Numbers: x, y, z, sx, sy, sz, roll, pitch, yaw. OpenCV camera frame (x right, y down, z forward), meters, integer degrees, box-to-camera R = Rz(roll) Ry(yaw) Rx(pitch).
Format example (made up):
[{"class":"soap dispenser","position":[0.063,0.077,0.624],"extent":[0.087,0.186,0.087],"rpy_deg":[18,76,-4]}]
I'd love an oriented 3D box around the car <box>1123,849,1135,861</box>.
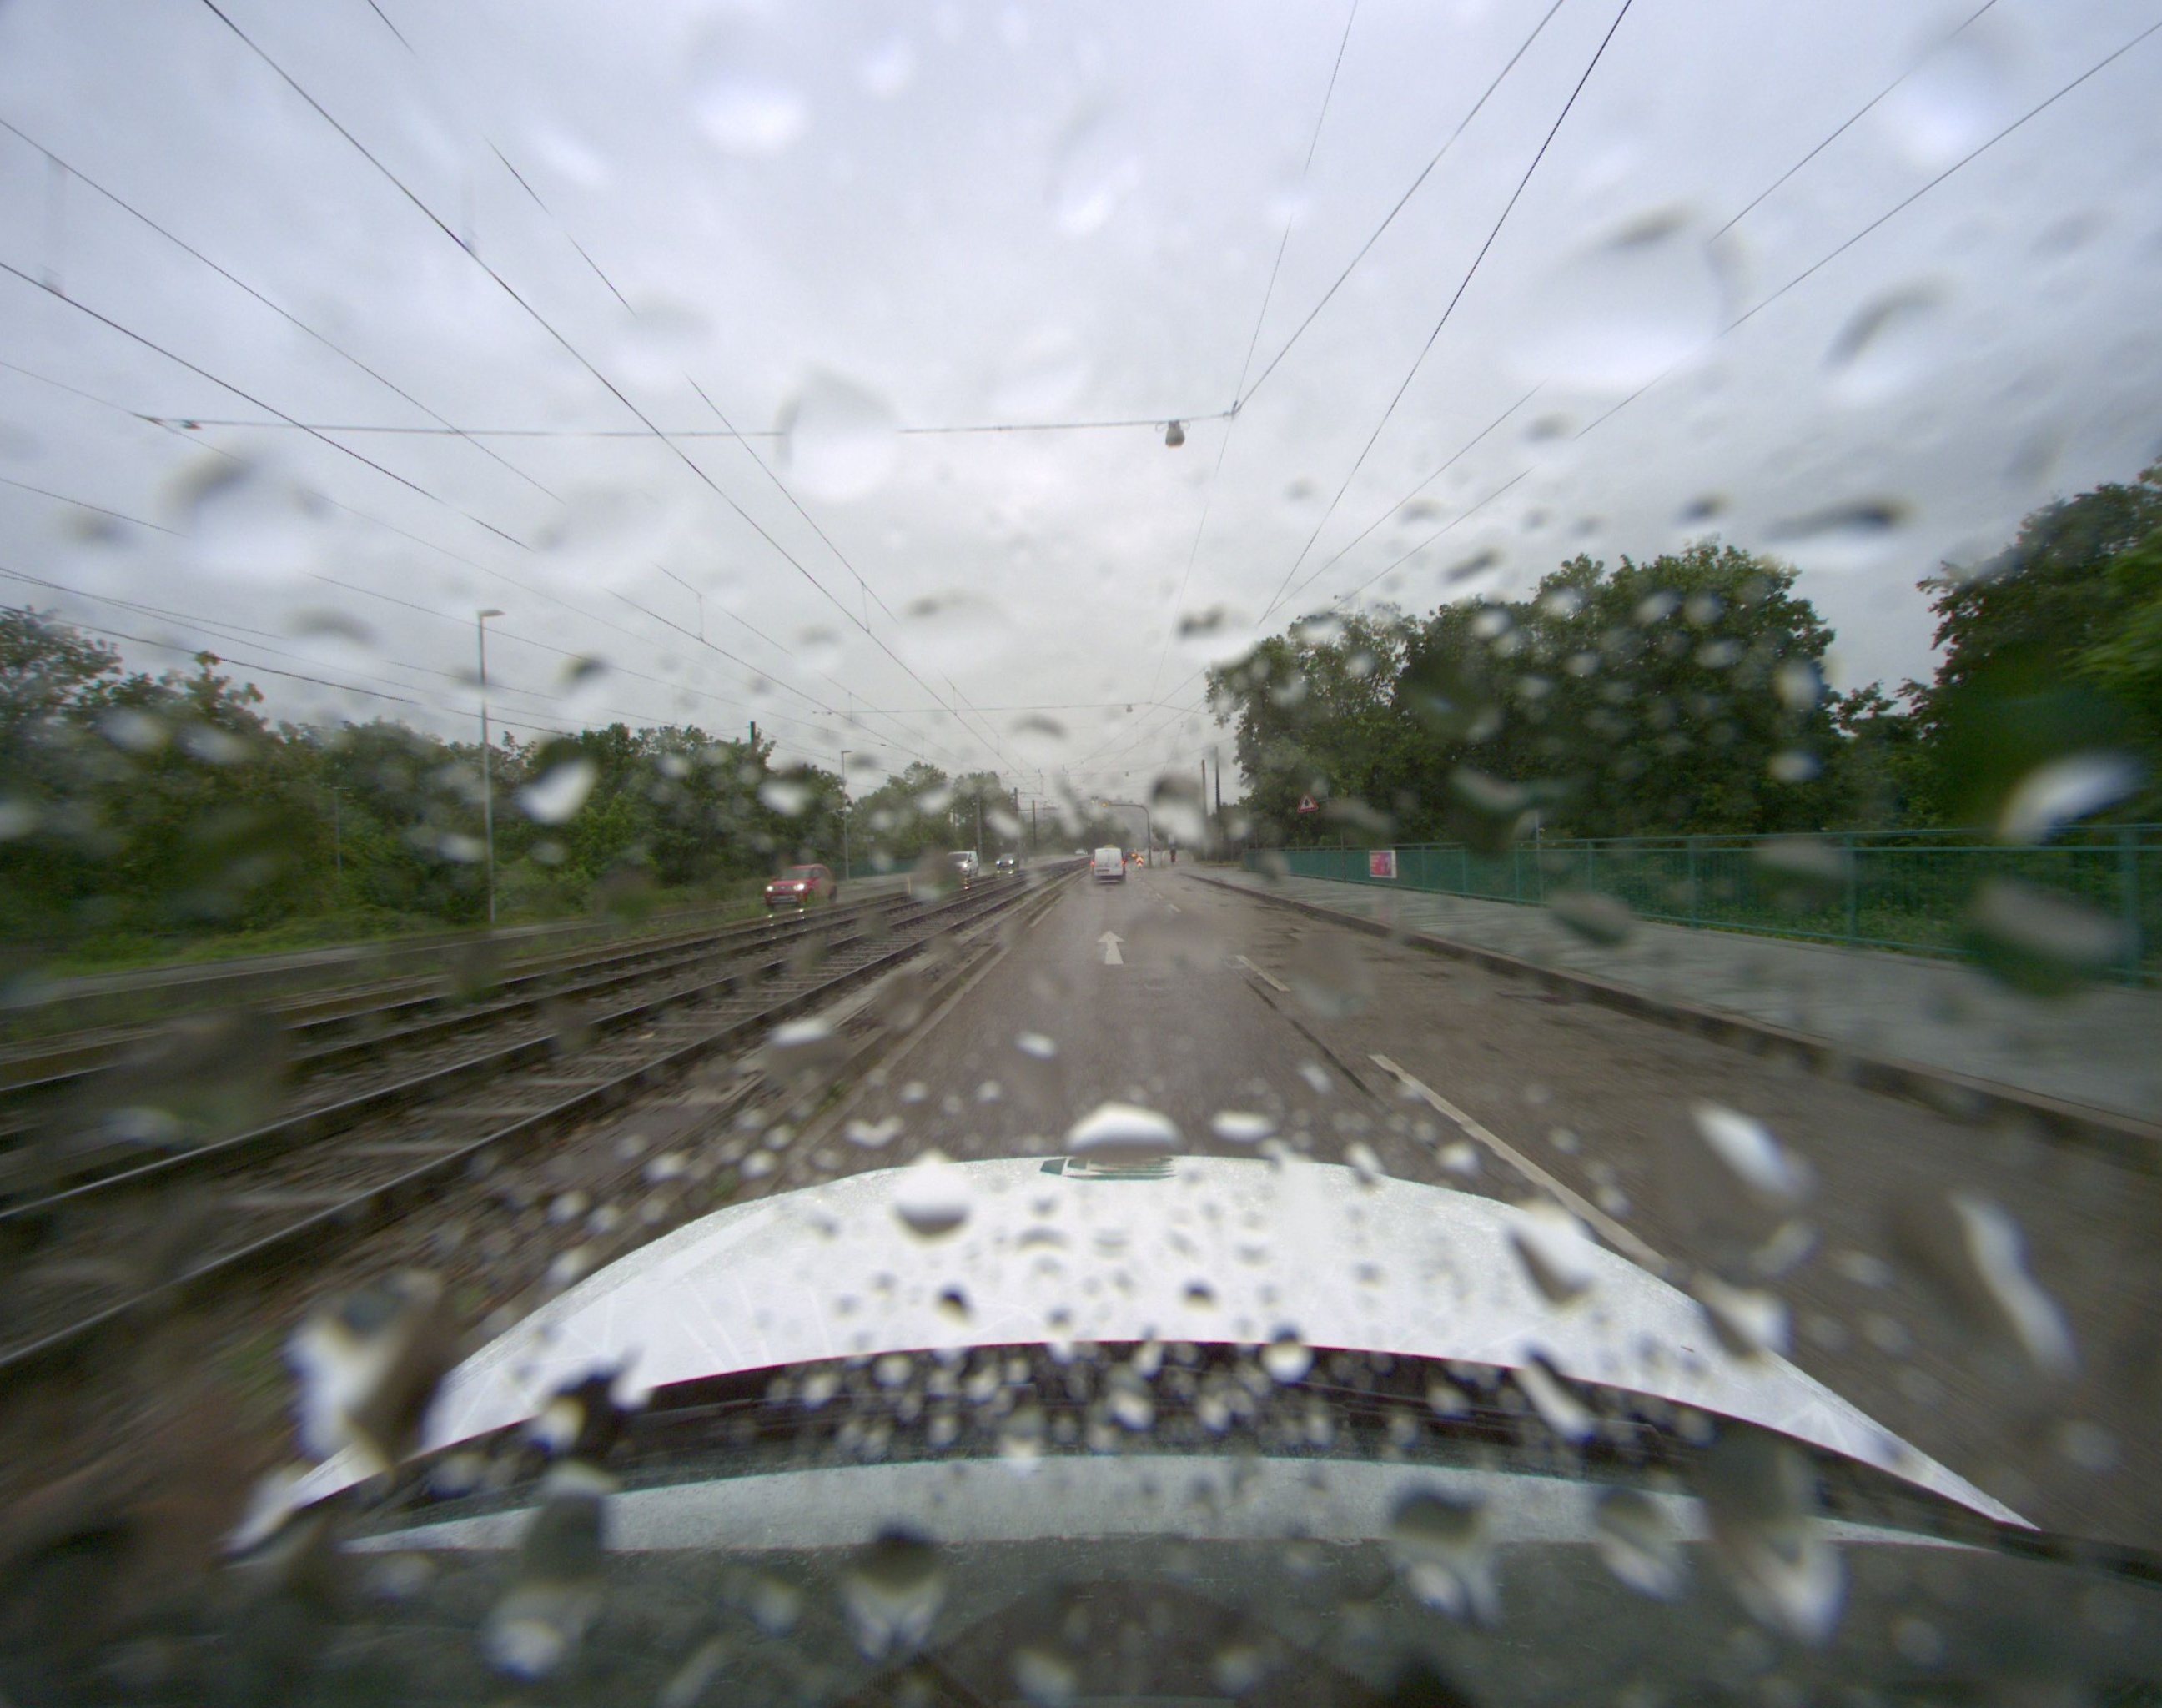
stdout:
[{"class":"car","position":[6.296,0.107,107.480],"extent":[1.445,1.499,2.983],"rpy_deg":[-1,0,2]}]

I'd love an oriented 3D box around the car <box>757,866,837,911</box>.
[{"class":"car","position":[-10.924,1.291,31.574],"extent":[1.717,1.601,3.652],"rpy_deg":[-1,0,2]}]

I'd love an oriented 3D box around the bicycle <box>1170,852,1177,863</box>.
[{"class":"bicycle","position":[9.692,0.320,84.981],"extent":[0.719,1.129,2.172],"rpy_deg":[-1,0,6]}]

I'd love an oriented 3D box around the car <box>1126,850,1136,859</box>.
[{"class":"car","position":[7.815,0.074,127.111],"extent":[1.445,1.499,2.983],"rpy_deg":[-1,0,2]}]

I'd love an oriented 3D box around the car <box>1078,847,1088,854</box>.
[{"class":"car","position":[0.509,-0.806,186.627],"extent":[1.925,1.231,4.107],"rpy_deg":[-4,2,6]}]

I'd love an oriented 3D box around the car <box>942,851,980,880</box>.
[{"class":"car","position":[-9.055,0.841,62.026],"extent":[1.986,2.044,5.030],"rpy_deg":[-1,0,2]}]

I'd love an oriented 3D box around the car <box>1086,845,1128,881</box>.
[{"class":"car","position":[1.357,0.460,41.710],"extent":[1.985,1.726,4.002],"rpy_deg":[-1,0,2]}]

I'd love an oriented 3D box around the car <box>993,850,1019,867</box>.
[{"class":"car","position":[-7.736,0.462,84.638],"extent":[1.986,1.648,5.373],"rpy_deg":[-1,0,2]}]

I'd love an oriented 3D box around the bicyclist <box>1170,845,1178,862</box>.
[{"class":"bicyclist","position":[9.697,-0.012,84.978],"extent":[0.722,1.764,0.951],"rpy_deg":[-1,-1,6]}]
